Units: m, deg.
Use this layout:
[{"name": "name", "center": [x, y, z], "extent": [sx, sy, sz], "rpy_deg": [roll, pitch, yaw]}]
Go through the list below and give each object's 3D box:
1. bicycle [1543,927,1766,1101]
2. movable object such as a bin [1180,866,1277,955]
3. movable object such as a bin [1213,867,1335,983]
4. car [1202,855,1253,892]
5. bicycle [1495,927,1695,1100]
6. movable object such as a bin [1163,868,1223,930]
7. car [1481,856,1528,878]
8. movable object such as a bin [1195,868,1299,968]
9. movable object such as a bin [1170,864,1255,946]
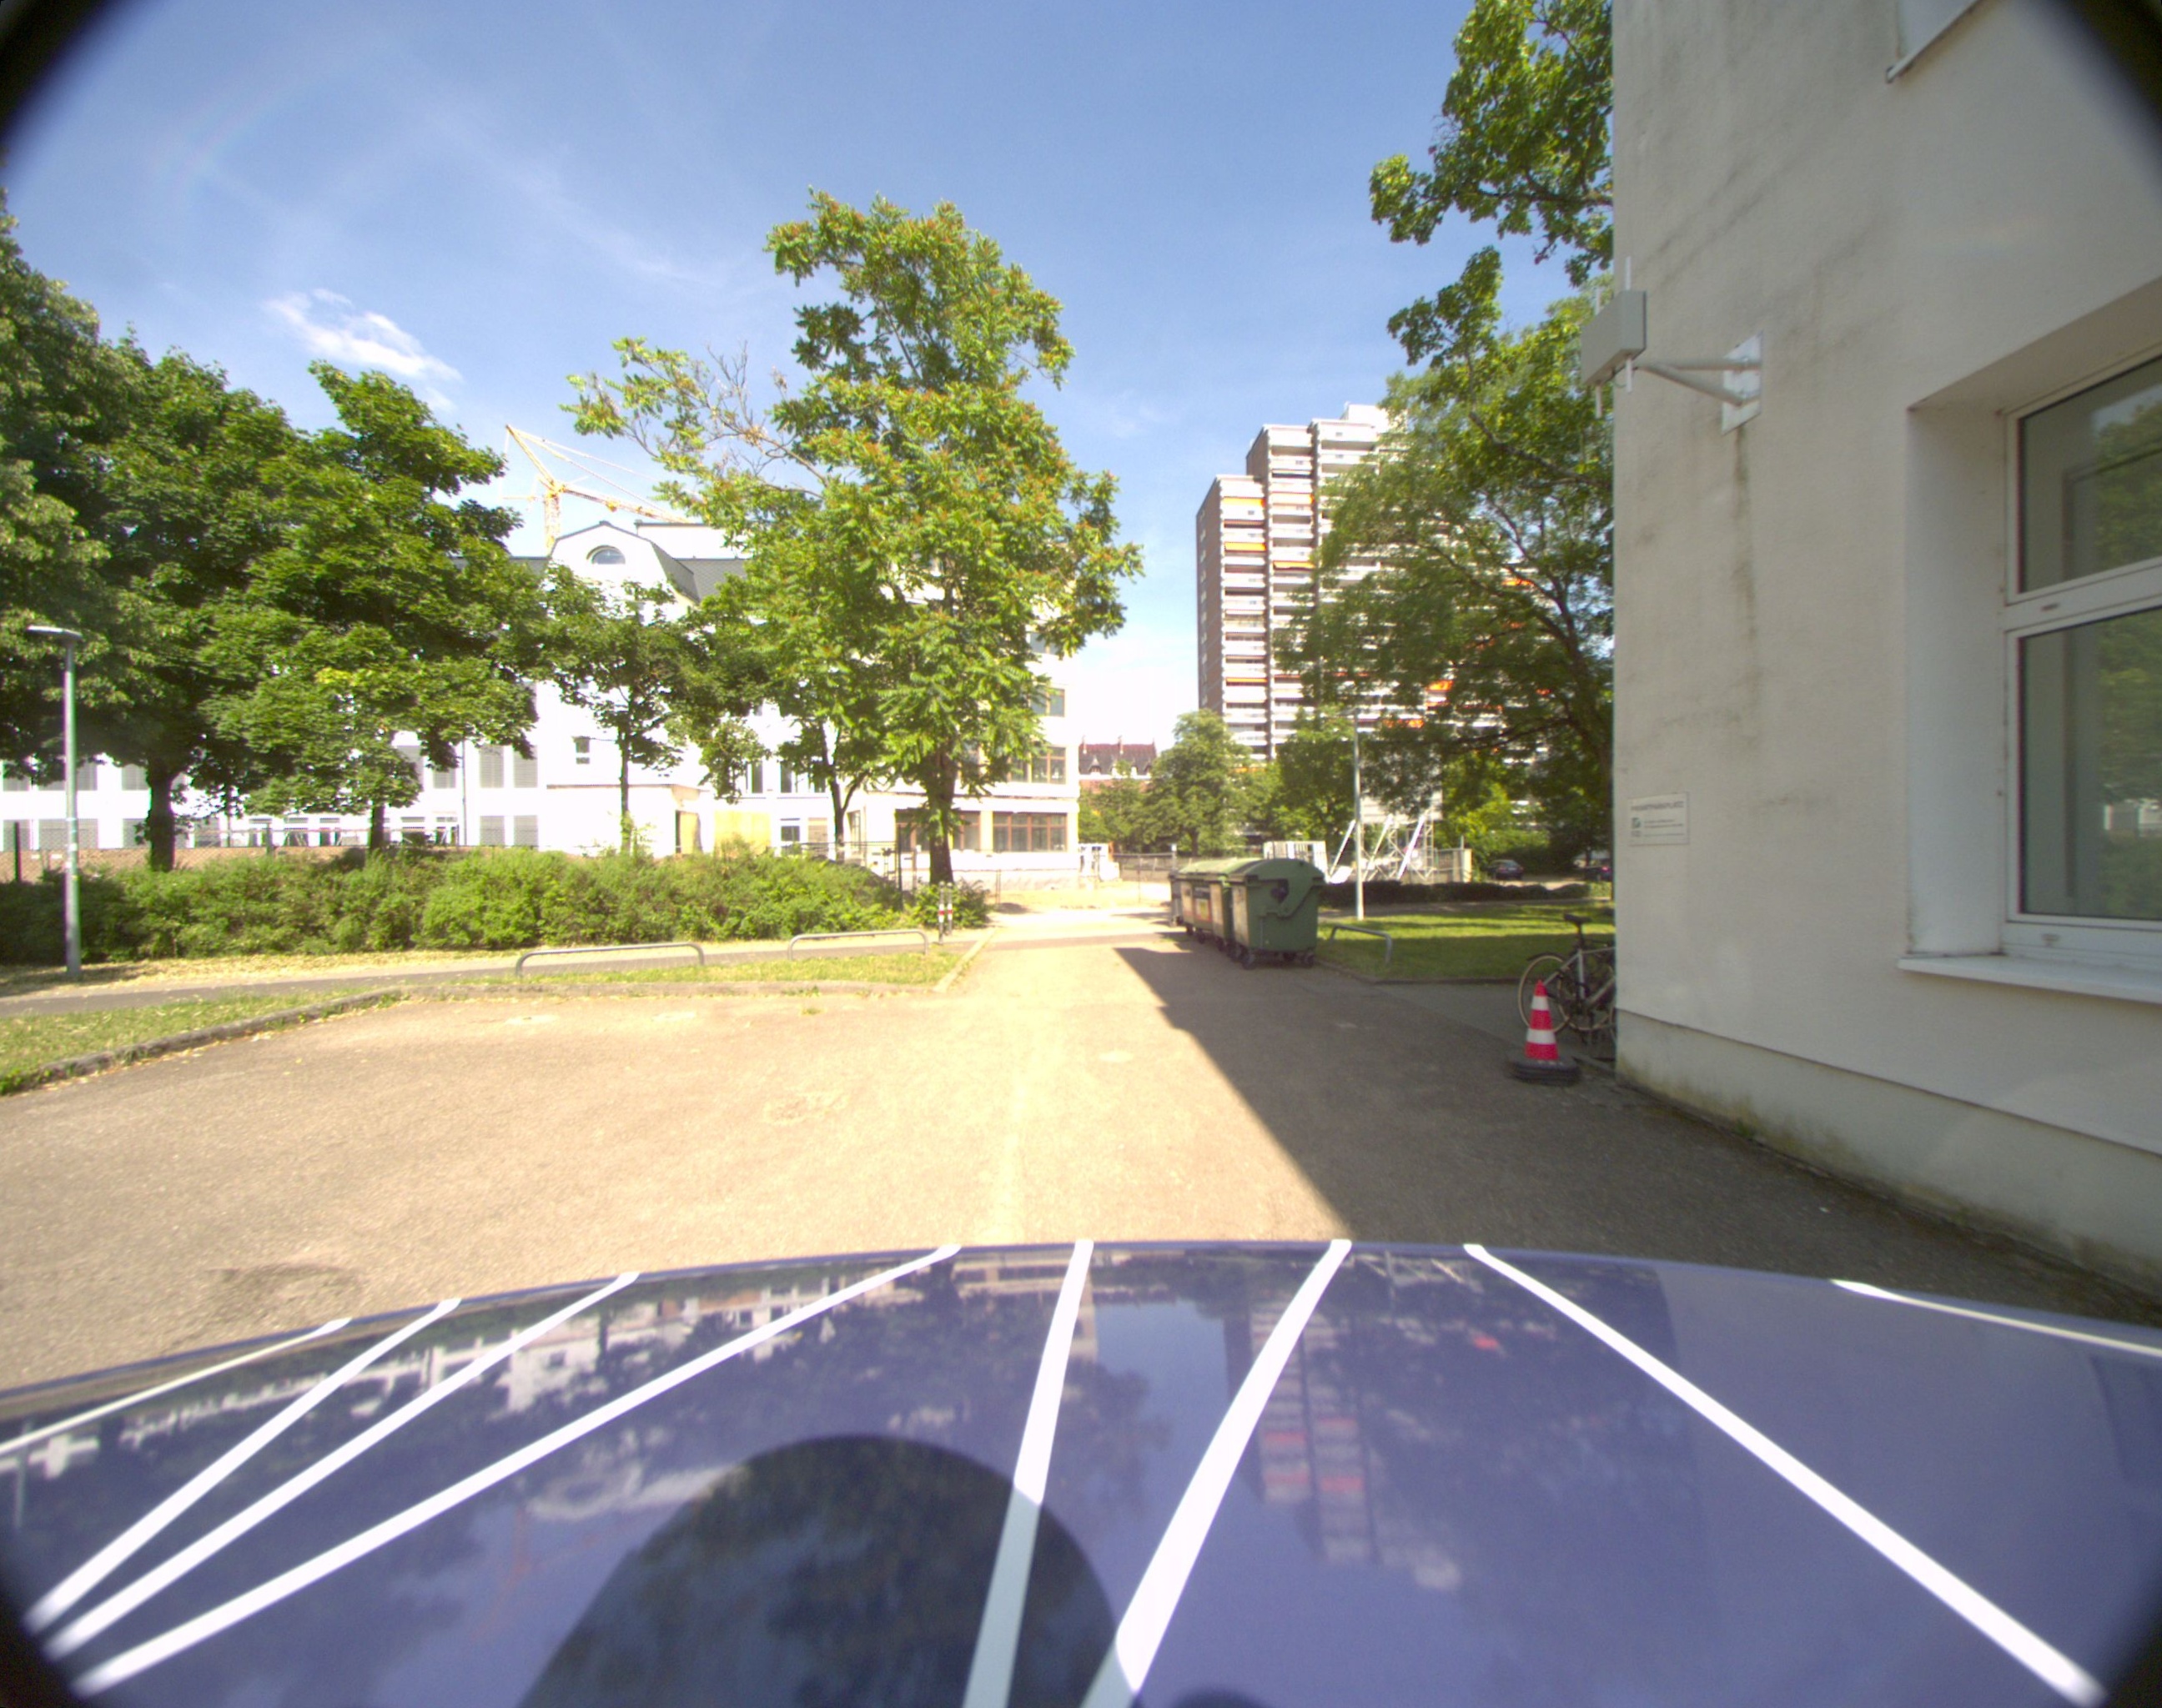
[{"name": "bicycle", "center": [4.203, 1.114, 5.727], "extent": [0.445, 0.986, 1.630], "rpy_deg": [0, -1, 0]}, {"name": "movable object such as a bin", "center": [2.528, 0.936, 13.168], "extent": [1.249, 1.423, 1.222], "rpy_deg": [0, 0, -14]}, {"name": "movable object such as a bin", "center": [2.556, 0.905, 10.267], "extent": [1.248, 1.423, 1.349], "rpy_deg": [0, 0, -3]}, {"name": "car", "center": [7.582, 0.955, 39.064], "extent": [1.918, 1.770, 4.319], "rpy_deg": [-2, 0, 19]}, {"name": "bicycle", "center": [3.719, 1.098, 5.648], "extent": [0.445, 0.986, 1.541], "rpy_deg": [0, -1, 0]}, {"name": "movable object such as a bin", "center": [2.708, 1.047, 18.193], "extent": [1.246, 1.388, 1.406], "rpy_deg": [0, 0, 15]}, {"name": "car", "center": [30.020, 0.881, 54.031], "extent": [1.839, 1.402, 4.151], "rpy_deg": [-2, 1, 13]}, {"name": "movable object such as a bin", "center": [2.528, 0.945, 11.779], "extent": [1.248, 1.423, 1.365], "rpy_deg": [0, 0, -3]}, {"name": "movable object such as a bin", "center": [2.487, 0.931, 14.575], "extent": [1.248, 1.473, 1.338], "rpy_deg": [0, 0, -8]}]
